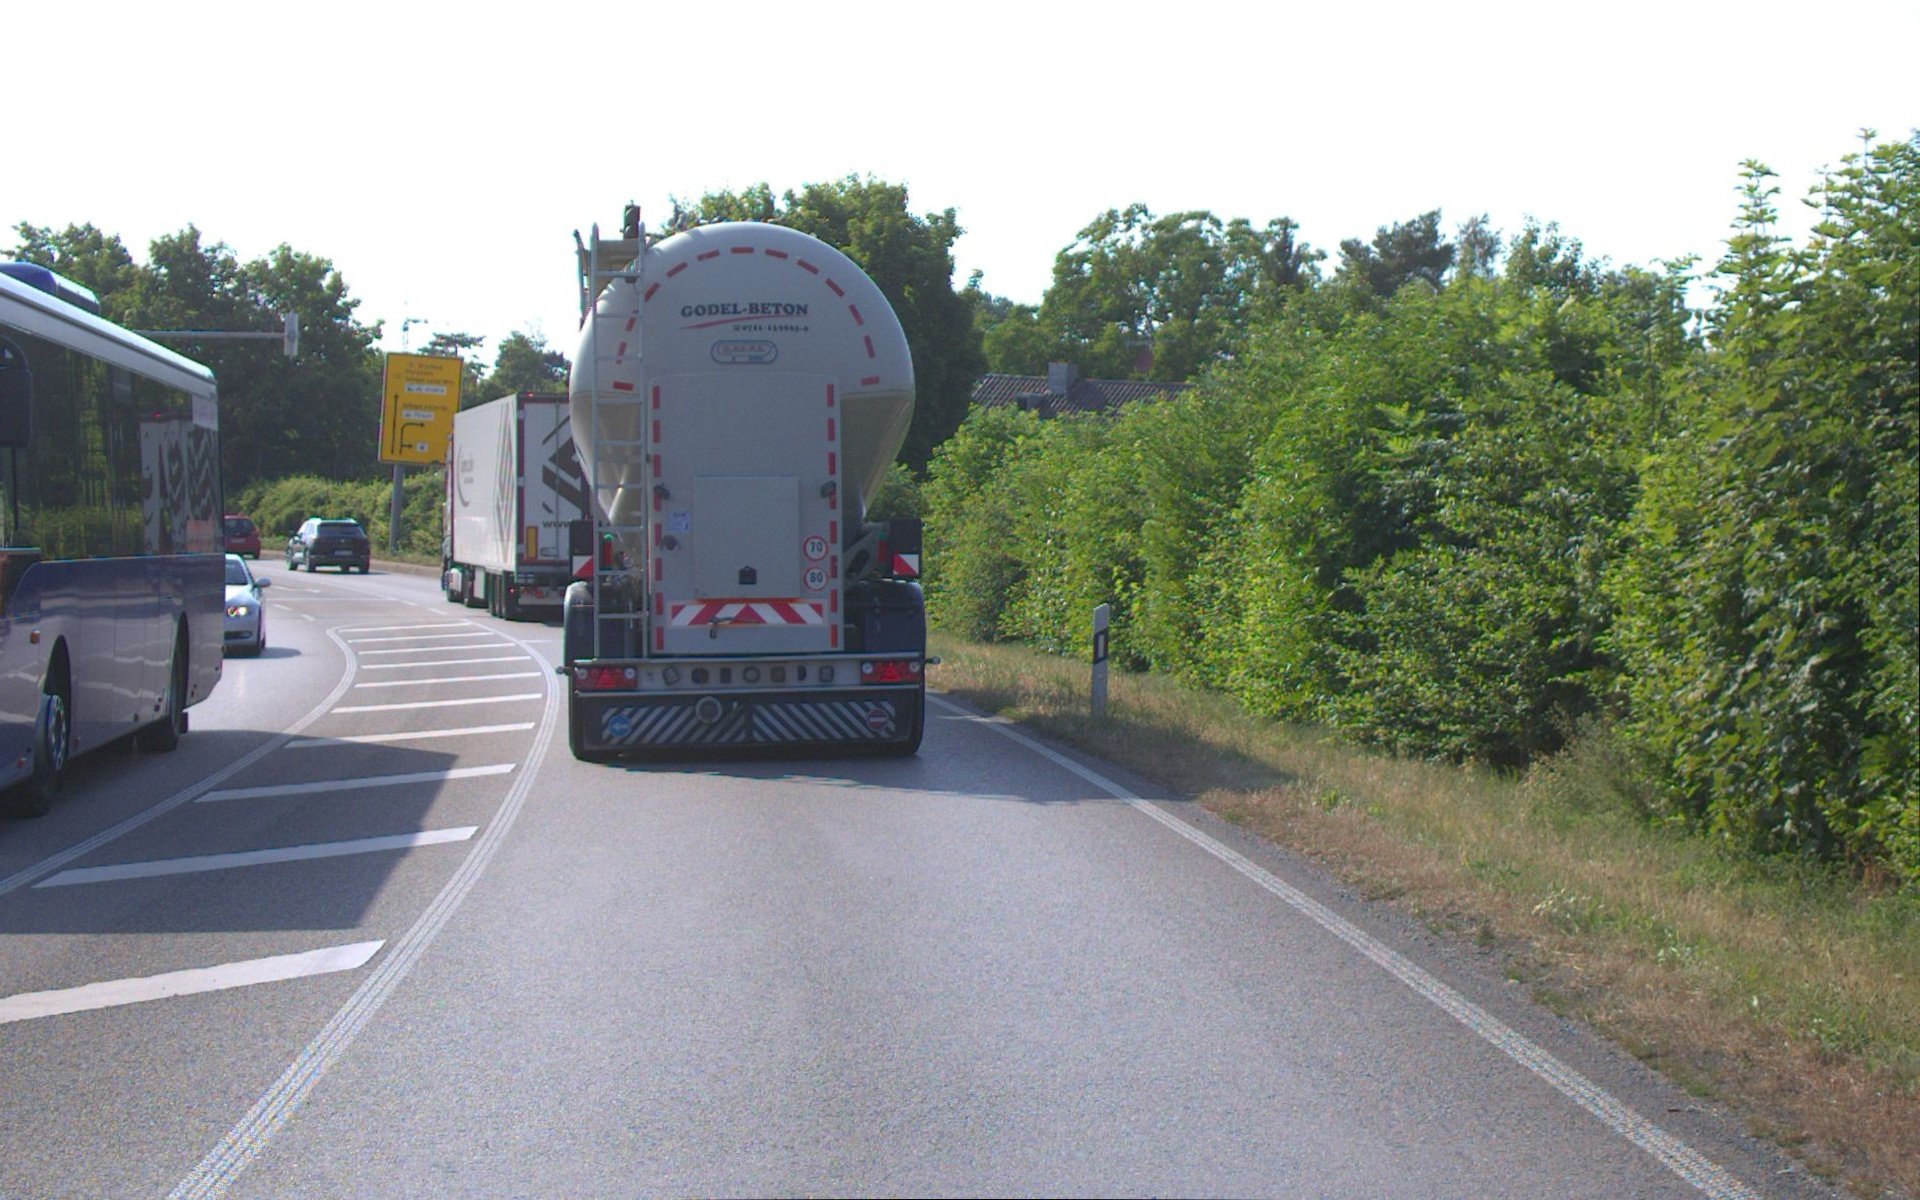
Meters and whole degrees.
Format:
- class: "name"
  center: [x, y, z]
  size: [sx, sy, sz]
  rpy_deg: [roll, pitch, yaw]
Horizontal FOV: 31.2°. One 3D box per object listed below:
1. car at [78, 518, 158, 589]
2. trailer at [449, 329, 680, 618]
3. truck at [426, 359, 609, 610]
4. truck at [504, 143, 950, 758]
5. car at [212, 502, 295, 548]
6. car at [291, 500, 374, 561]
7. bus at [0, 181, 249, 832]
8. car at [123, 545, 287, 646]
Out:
- class: "car"
  center: [-19.147, -1.032, 78.237]
  size: [1.694, 1.547, 4.153]
  rpy_deg: [1, 0, -13]
- class: "trailer"
  center: [-7.504, -2.173, 63.816]
  size: [2.963, 4.865, 10.291]
  rpy_deg: [1, 0, -13]
- class: "truck"
  center: [-9.178, -2.276, 70.792]
  size: [2.962, 4.870, 6.432]
  rpy_deg: [1, 0, -14]
- class: "truck"
  center: [-1.960, -1.027, 29.430]
  size: [2.975, 4.161, 11.664]
  rpy_deg: [1, 0, -4]
- class: "car"
  center: [-23.865, -2.518, 116.035]
  size: [1.683, 1.463, 4.000]
  rpy_deg: [1, 0, -28]
- class: "car"
  center: [-18.134, -1.982, 99.252]
  size: [1.993, 1.650, 4.001]
  rpy_deg: [1, 0, -15]
- class: "bus"
  center: [-6.659, -0.478, 22.214]
  size: [2.793, 3.171, 12.129]
  rpy_deg: [1, 0, -6]
- class: "car"
  center: [-10.489, -0.082, 48.005]
  size: [1.699, 1.329, 4.750]
  rpy_deg: [0, 1, -6]
